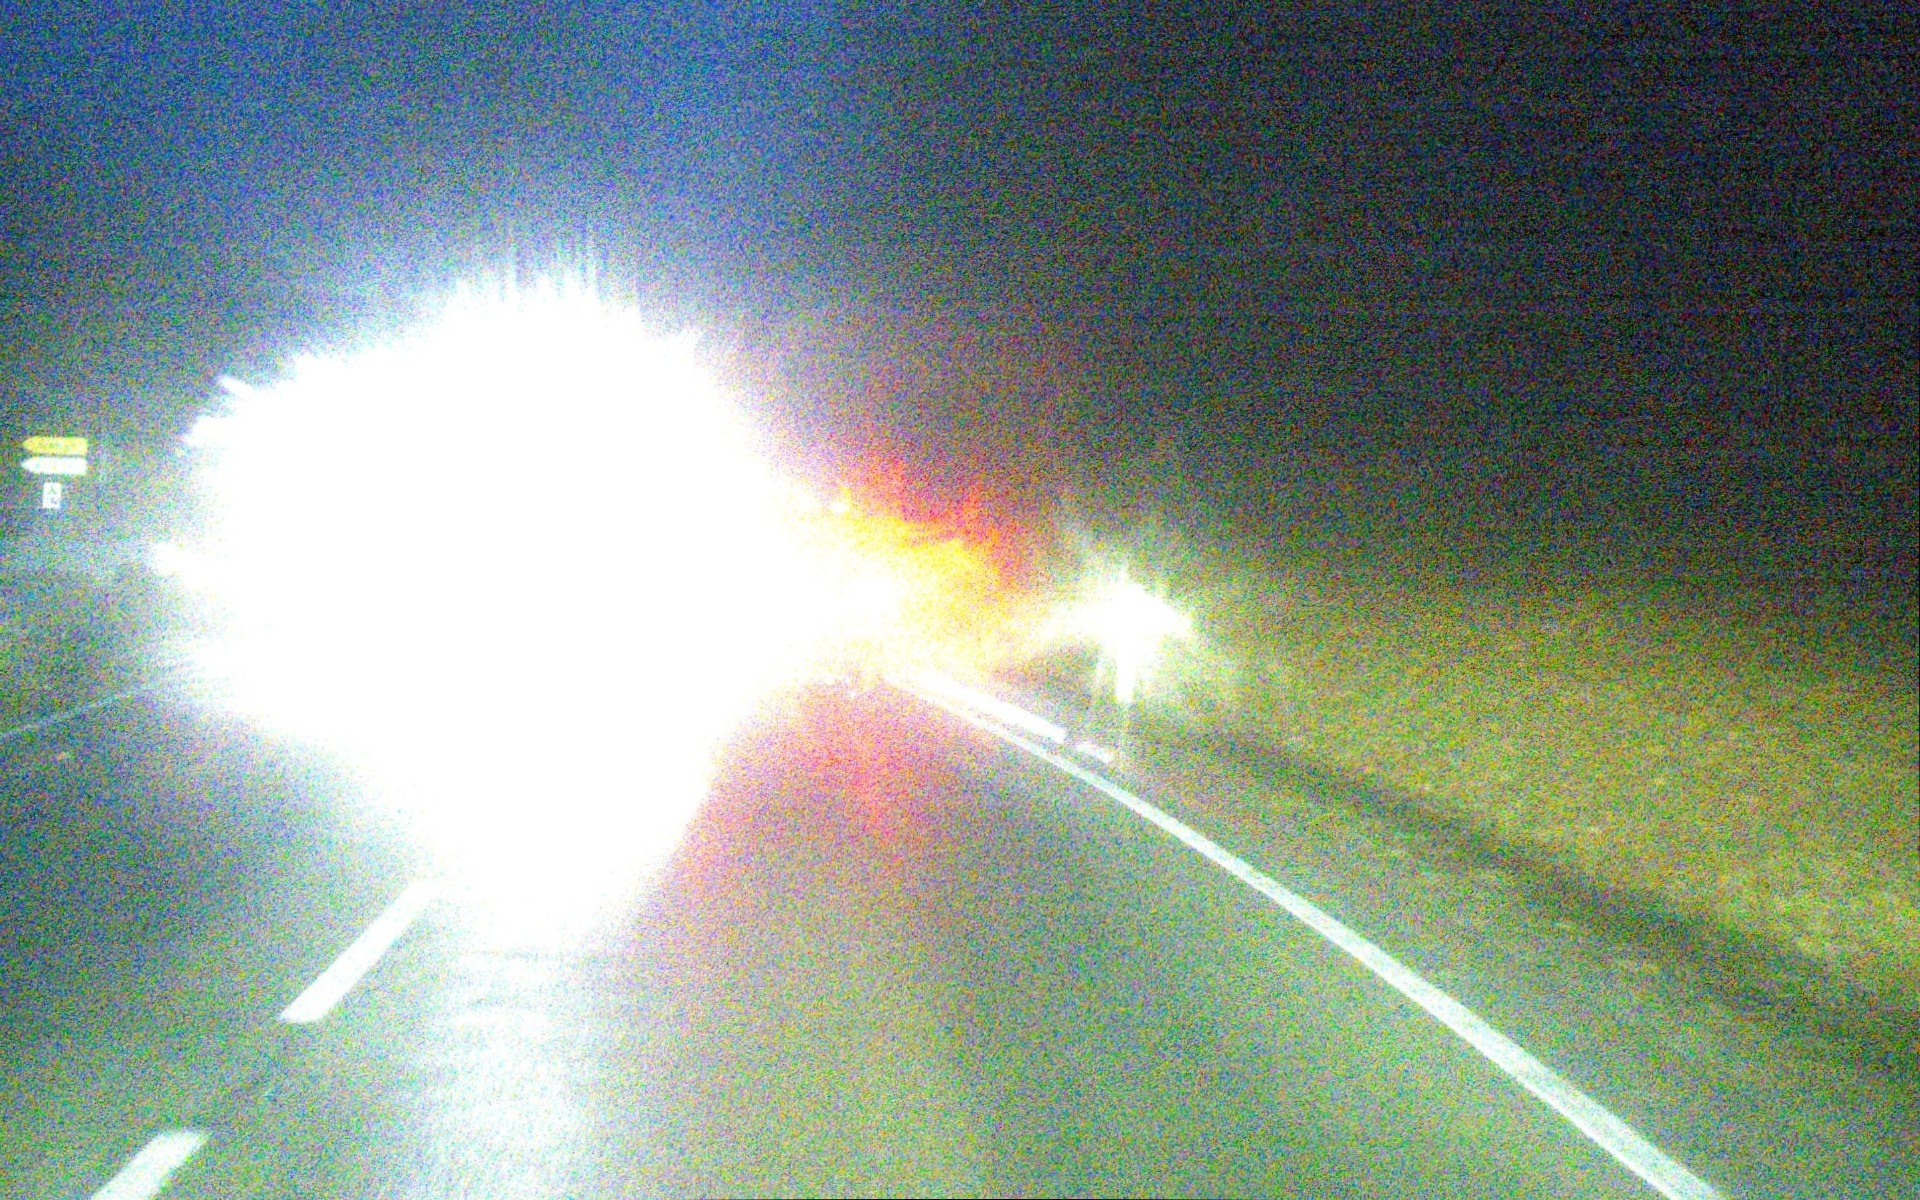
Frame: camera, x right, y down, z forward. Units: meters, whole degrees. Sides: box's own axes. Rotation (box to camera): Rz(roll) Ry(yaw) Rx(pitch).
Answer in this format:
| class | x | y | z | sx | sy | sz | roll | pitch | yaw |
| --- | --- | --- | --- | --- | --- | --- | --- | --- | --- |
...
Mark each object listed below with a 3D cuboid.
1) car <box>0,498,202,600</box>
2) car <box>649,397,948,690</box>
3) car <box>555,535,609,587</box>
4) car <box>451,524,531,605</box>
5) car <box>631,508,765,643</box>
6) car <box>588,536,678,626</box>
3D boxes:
| class | x | y | z | sx | sy | sz | roll | pitch | yaw |
| --- | --- | --- | --- | --- | --- | --- | --- | --- | --- |
| car | -15.711 | -0.894 | 59.509 | 4.911 | 1.729 | 2.001 | 0 | 1 | -8 |
| car | -1.551 | -0.550 | 32.163 | 2.538 | 2.489 | 5.715 | 0 | 1 | -3 |
| car | -14.706 | -1.507 | 133.529 | 1.891 | 1.904 | 3.796 | 3 | 0 | -8 |
| car | -11.188 | -0.867 | 82.203 | 1.753 | 1.728 | 4.001 | 3 | 2 | -7 |
| car | -4.350 | -0.360 | 56.536 | 1.993 | 2.007 | 4.000 | 3 | -2 | -6 |
| car | -6.802 | -0.371 | 71.664 | 1.740 | 1.708 | 3.700 | 3 | -2 | -5 |
